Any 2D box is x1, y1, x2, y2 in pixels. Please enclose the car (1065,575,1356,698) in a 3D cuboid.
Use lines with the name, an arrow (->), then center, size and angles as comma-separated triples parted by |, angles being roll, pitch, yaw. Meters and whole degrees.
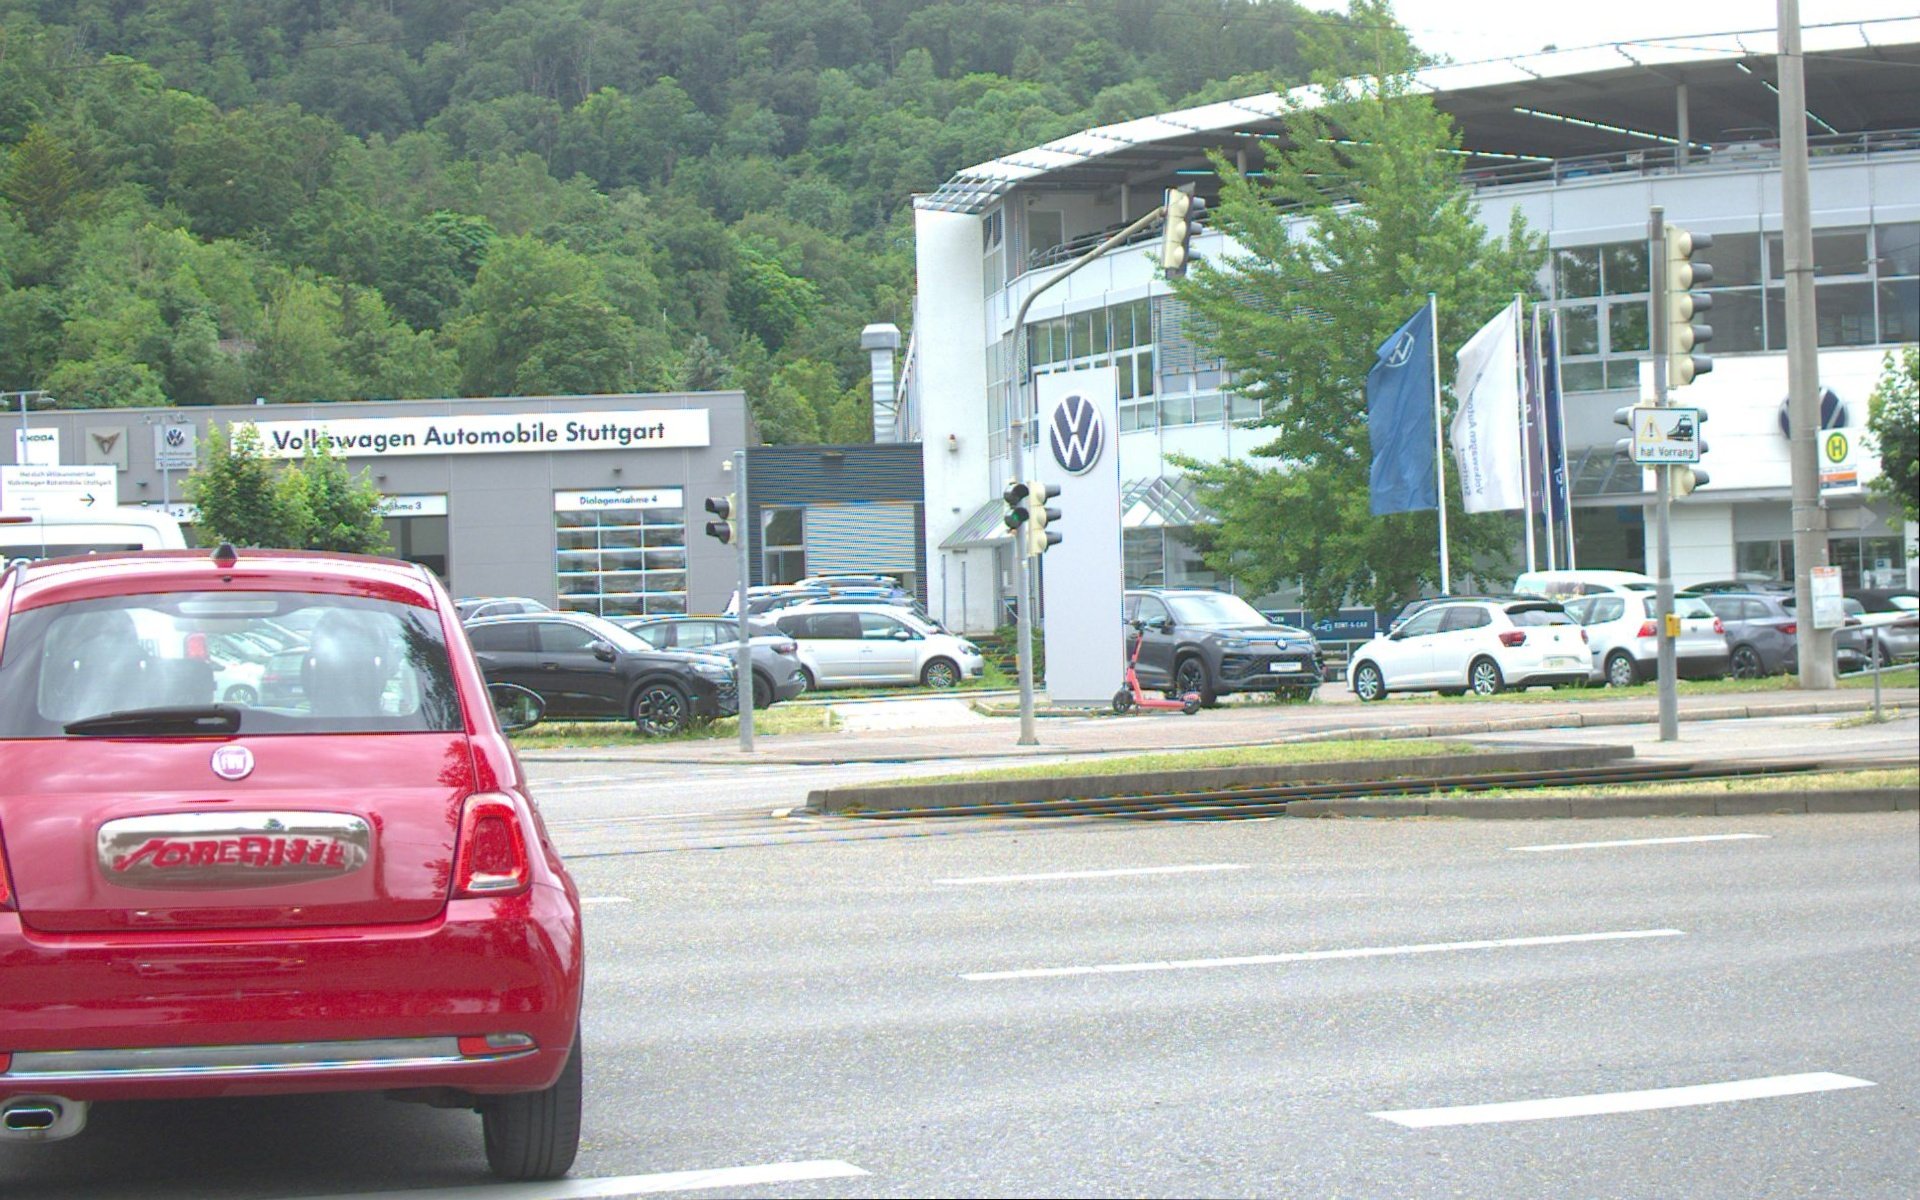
car -> 3.429, 0.510, 47.760 | 1.994, 1.634, 3.999 | 0, -1, -33

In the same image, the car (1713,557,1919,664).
car -> 13.853, 0.197, 53.375 | 1.921, 1.549, 3.999 | 3, -2, -33

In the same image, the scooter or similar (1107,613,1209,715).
scooter or similar -> 2.587, 0.842, 44.949 | 1.200, 1.284, 0.575 | 2, -2, -11

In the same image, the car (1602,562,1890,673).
car -> 11.826, 0.289, 51.938 | 1.921, 1.549, 3.999 | 3, -2, -33

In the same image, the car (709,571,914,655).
car -> -3.406, 0.307, 78.487 | 4.494, 1.723, 2.000 | 2, -2, -7

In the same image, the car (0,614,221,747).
car -> -14.944, 1.373, 56.765 | 5.001, 2.007, 2.000 | -3, -2, -1

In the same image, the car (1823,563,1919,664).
car -> 15.892, 0.217, 54.797 | 1.723, 1.549, 3.999 | 3, -2, -33

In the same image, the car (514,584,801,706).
car -> -4.585, 0.703, 51.967 | 3.985, 1.700, 2.000 | 2, -2, -15

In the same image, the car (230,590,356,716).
car -> -11.658, 0.975, 60.343 | 1.993, 2.007, 5.018 | -2, -2, -10

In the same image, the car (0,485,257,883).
car -> -5.466, 0.535, 19.945 | 1.998, 2.034, 4.832 | 1, -3, -20

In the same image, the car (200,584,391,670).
car -> -14.988, 0.615, 77.689 | 3.986, 1.788, 1.853 | 2, -2, -3

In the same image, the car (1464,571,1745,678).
car -> 9.517, 0.386, 51.011 | 1.808, 1.472, 3.999 | 3, -2, -33

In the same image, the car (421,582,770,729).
car -> -4.544, 0.674, 43.190 | 3.988, 1.634, 2.000 | 1, 3, 8

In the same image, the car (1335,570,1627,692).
car -> 7.512, 0.469, 49.831 | 1.993, 1.634, 3.999 | 3, -2, -33

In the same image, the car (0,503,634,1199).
car -> -2.013, 0.580, 9.318 | 1.697, 1.520, 4.001 | 2, -1, -13

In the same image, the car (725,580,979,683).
car -> -2.024, 0.605, 63.523 | 4.494, 1.723, 2.000 | 2, -2, -7

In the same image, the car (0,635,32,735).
car -> -21.200, 1.655, 69.281 | 4.495, 1.990, 2.000 | 2, -2, -6

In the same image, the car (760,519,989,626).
car -> -1.784, -0.552, 70.609 | 4.495, 1.990, 2.000 | 2, -2, -6

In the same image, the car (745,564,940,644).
car -> -2.854, 0.106, 82.917 | 4.494, 1.723, 2.000 | 2, -2, -7

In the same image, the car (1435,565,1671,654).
car -> 11.069, 0.194, 64.340 | 1.922, 1.549, 3.998 | 3, -3, -42

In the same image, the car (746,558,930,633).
car -> -3.142, -0.092, 88.096 | 4.494, 1.723, 2.000 | 2, -2, -7
